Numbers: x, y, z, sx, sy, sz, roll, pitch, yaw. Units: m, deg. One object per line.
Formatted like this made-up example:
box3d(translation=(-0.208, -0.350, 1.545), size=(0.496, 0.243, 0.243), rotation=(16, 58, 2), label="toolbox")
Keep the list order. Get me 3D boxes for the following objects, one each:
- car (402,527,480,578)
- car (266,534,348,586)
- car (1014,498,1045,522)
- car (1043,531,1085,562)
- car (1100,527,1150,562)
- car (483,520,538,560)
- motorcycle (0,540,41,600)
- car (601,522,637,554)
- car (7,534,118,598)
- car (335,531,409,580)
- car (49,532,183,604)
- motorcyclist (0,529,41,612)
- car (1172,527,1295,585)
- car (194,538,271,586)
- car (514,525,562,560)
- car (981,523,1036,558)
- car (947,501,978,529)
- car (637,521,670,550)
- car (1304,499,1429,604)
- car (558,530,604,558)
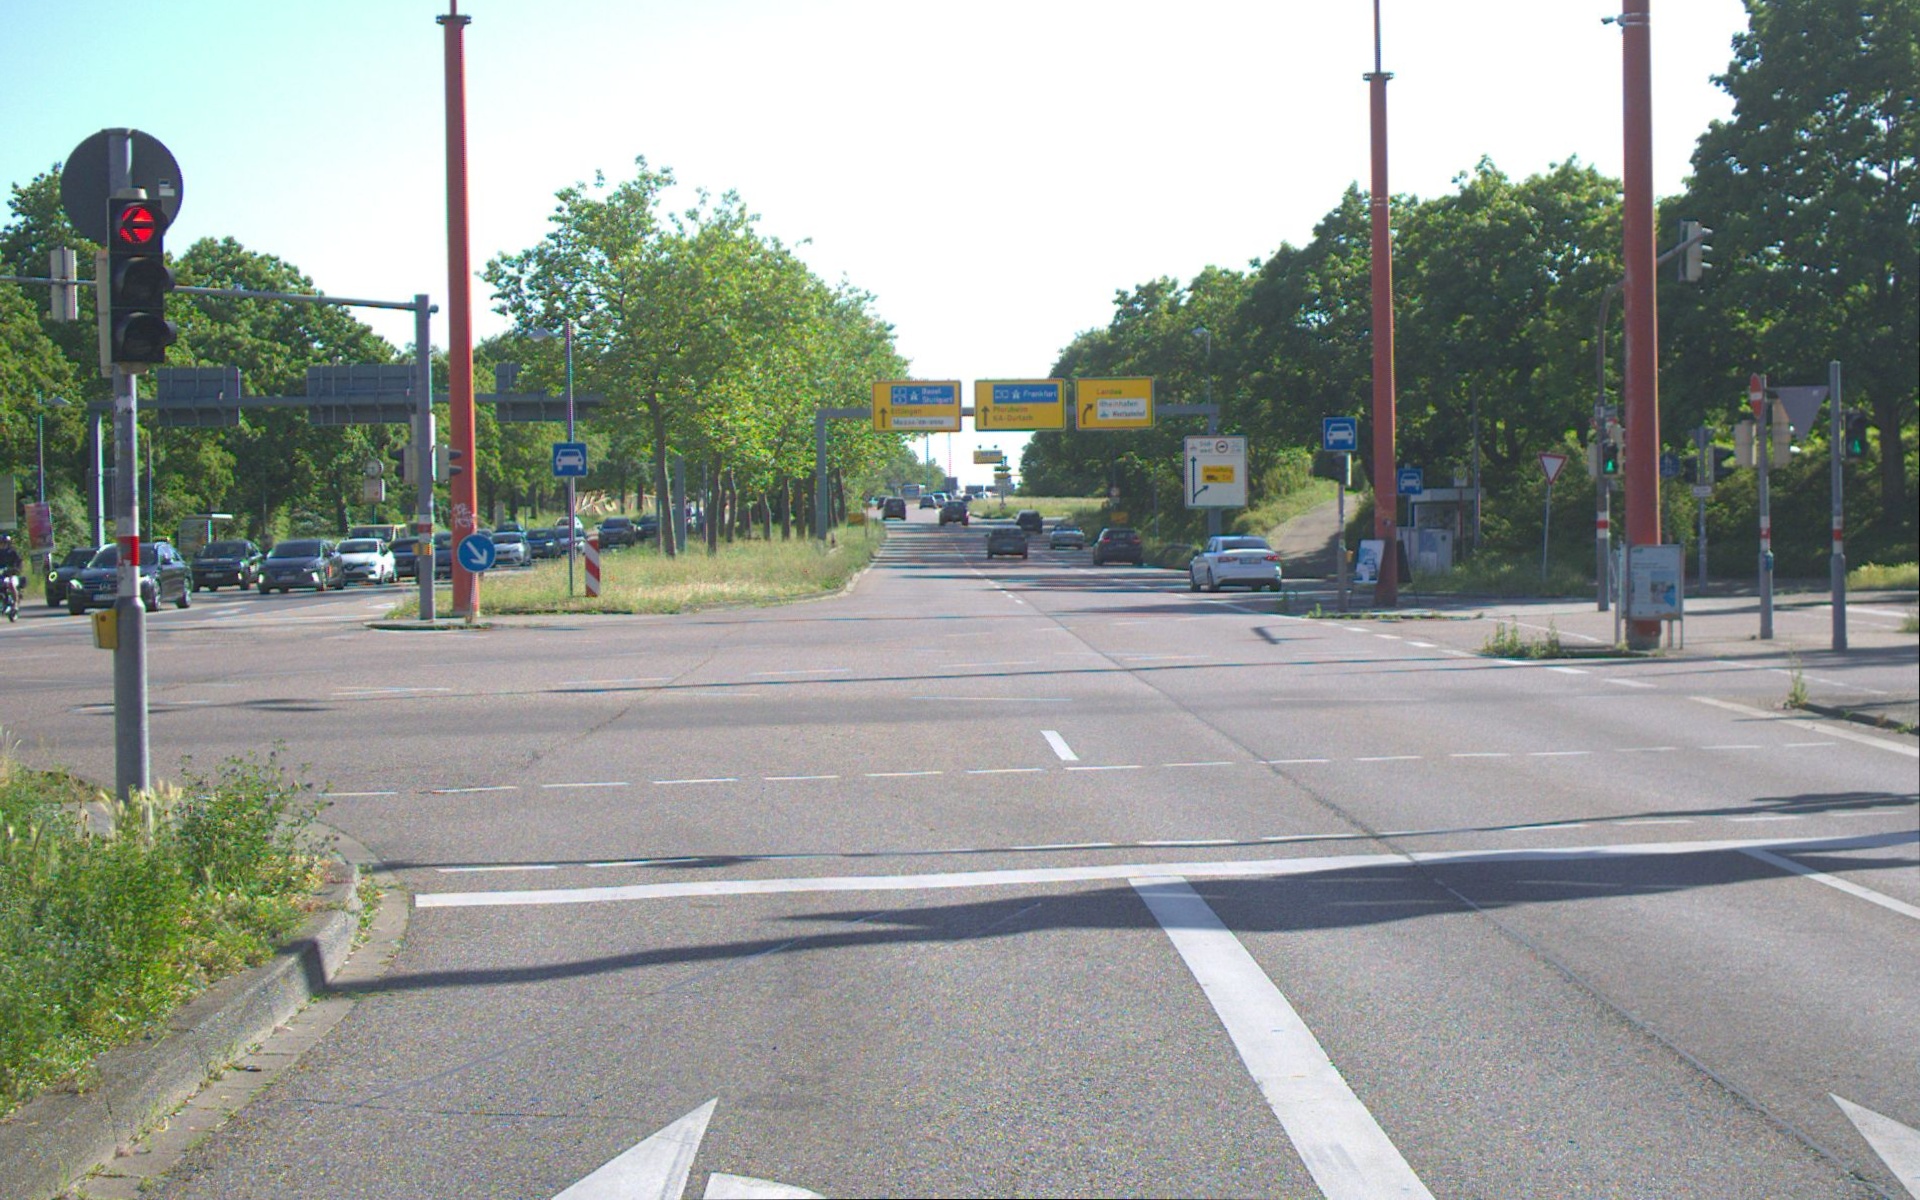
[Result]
box3d(translation=(-15.330, -1.393, 101.705), size=(1.701, 1.416, 4.000), rotation=(2, 1, 0), label="car")
box3d(translation=(-18.084, -1.127, 95.333), size=(1.548, 1.372, 4.263), rotation=(-1, 1, -1), label="car")
box3d(translation=(4.581, -5.949, 226.661), size=(1.993, 1.535, 4.000), rotation=(-1, 1, 2), label="car")
box3d(translation=(5.289, -2.724, 174.789), size=(1.993, 1.535, 4.000), rotation=(0, 1, 0), label="car")
box3d(translation=(6.387, -2.153, 133.038), size=(1.738, 1.337, 3.082), rotation=(-1, 1, 0), label="car")
box3d(translation=(-18.635, -2.482, 142.653), size=(1.704, 1.590, 4.000), rotation=(0, 1, 0), label="car")
box3d(translation=(-18.201, -0.578, 65.860), size=(0.421, 1.127, 2.095), rotation=(0, 1, 6), label="motorcycle")
box3d(translation=(-19.276, -3.510, 194.365), size=(1.625, 1.733, 4.000), rotation=(-1, 1, 0), label="car")
box3d(translation=(-22.531, -0.869, 86.448), size=(1.876, 1.570, 4.000), rotation=(0, 1, -2), label="car")
box3d(translation=(-18.071, -1.372, 105.838), size=(1.605, 1.454, 3.950), rotation=(-1, 1, 0), label="car")
box3d(translation=(-18.038, -0.690, 73.648), size=(1.876, 1.480, 4.606), rotation=(0, 1, -2), label="car")
box3d(translation=(-18.166, -0.571, 66.011), size=(0.835, 1.594, 0.640), rotation=(0, 1, 6), label="motorcyclist")
box3d(translation=(6.733, -1.102, 85.087), size=(2.054, 1.366, 4.393), rotation=(-1, 1, -9), label="car")
box3d(translation=(-22.509, -1.185, 106.474), size=(1.544, 1.428, 3.886), rotation=(-2, 1, 0), label="car")
box3d(translation=(-19.068, -2.601, 155.391), size=(1.704, 1.553, 3.803), rotation=(0, 1, 0), label="car")
box3d(translation=(2.110, -2.620, 150.607), size=(1.993, 1.491, 4.001), rotation=(-1, 1, -6), label="car")
box3d(translation=(0.182, -6.231, 252.623), size=(2.154, 2.007, 4.000), rotation=(-1, 1, -1), label="car")
box3d(translation=(-19.144, -4.015, 214.616), size=(1.657, 1.741, 4.000), rotation=(0, 1, 0), label="car")
box3d(translation=(7.654, -0.926, 64.424), size=(1.994, 1.881, 3.998), rotation=(0, 1, 12), label="car")
box3d(translation=(-18.434, -2.726, 167.280), size=(2.003, 1.303, 4.001), rotation=(-1, 1, -3), label="car")
